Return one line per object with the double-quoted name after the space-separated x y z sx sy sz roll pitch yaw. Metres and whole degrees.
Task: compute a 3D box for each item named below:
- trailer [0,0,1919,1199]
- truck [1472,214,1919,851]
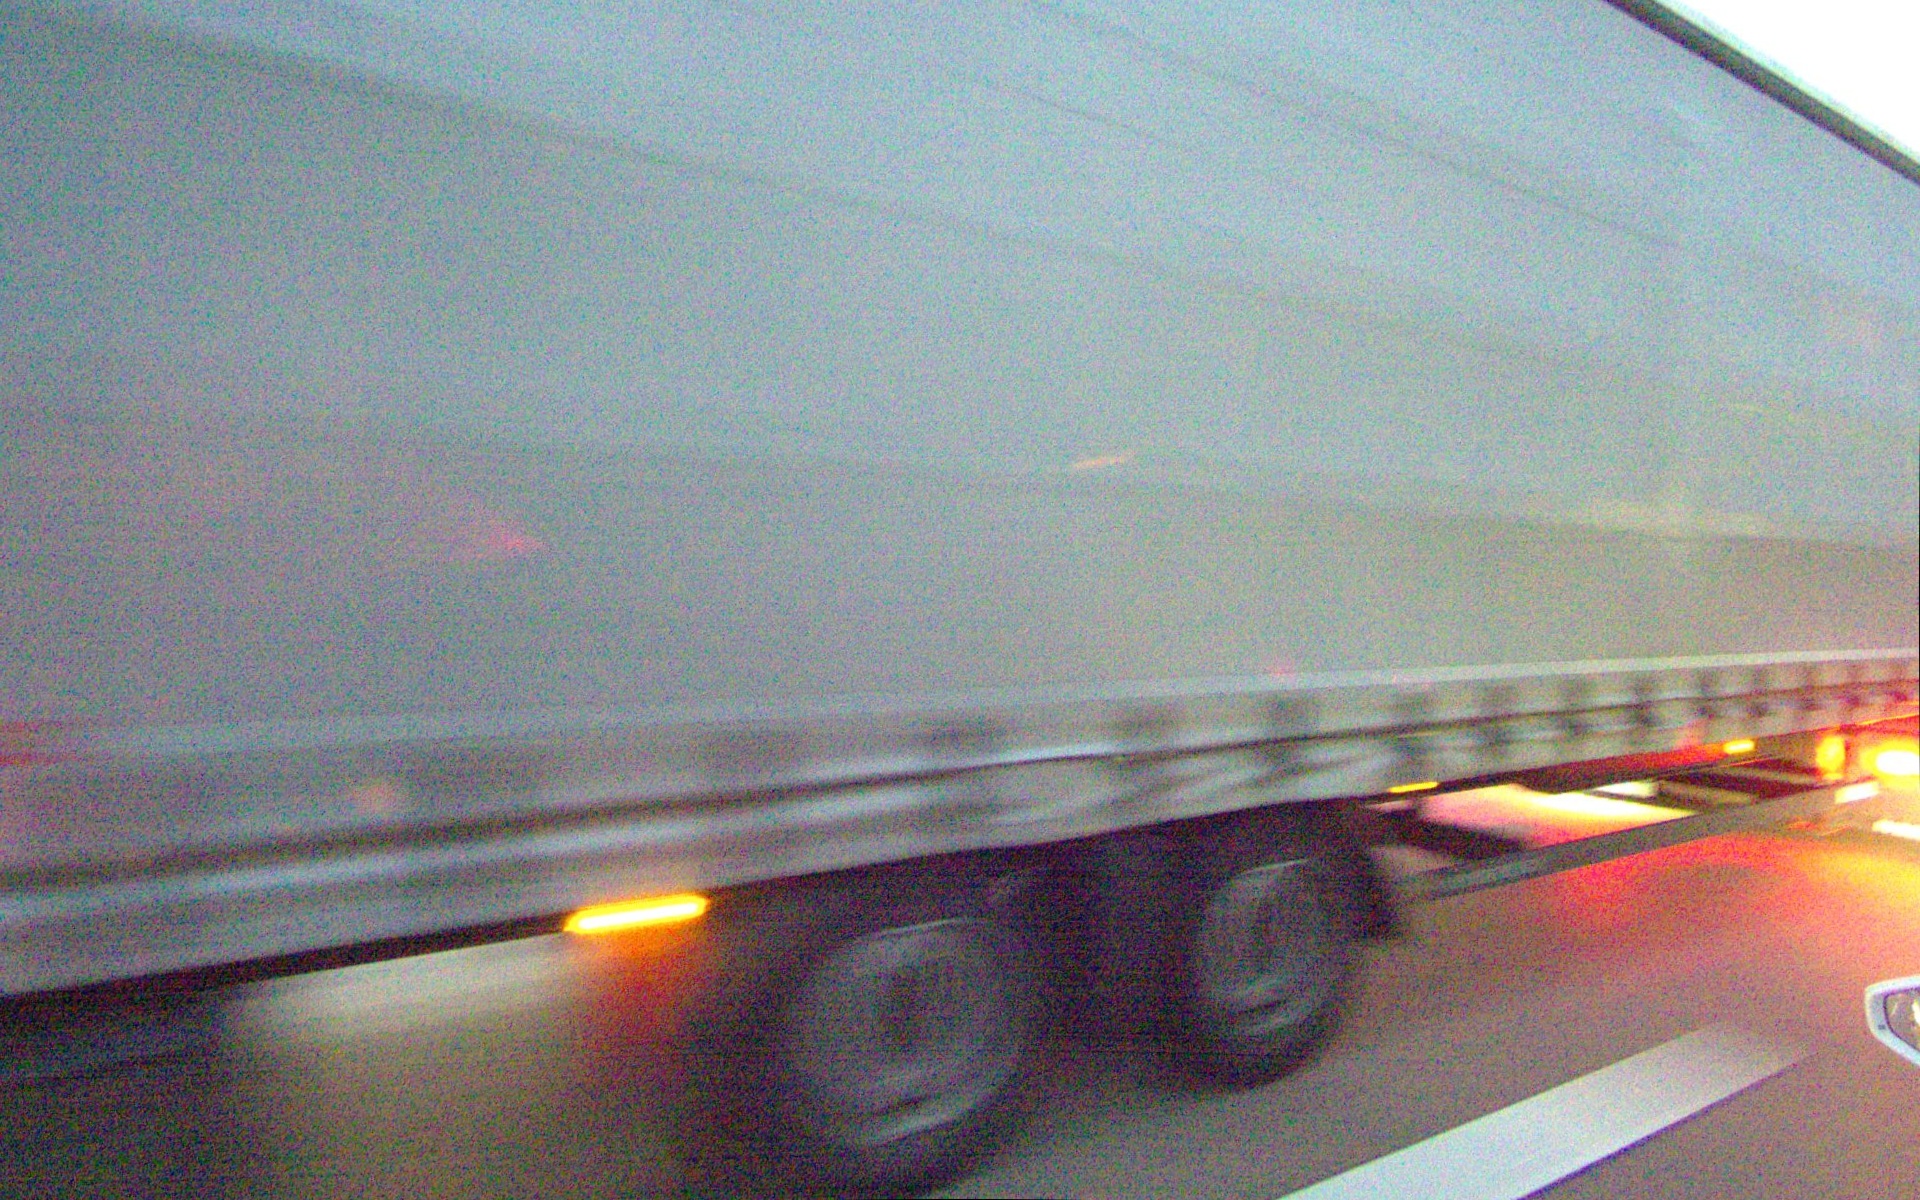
2.107 -0.533 5.538 14.890 4.171 3.532 1 0 -31 "trailer"
8.200 -0.385 9.230 6.081 4.145 3.533 1 0 -31 "truck"
